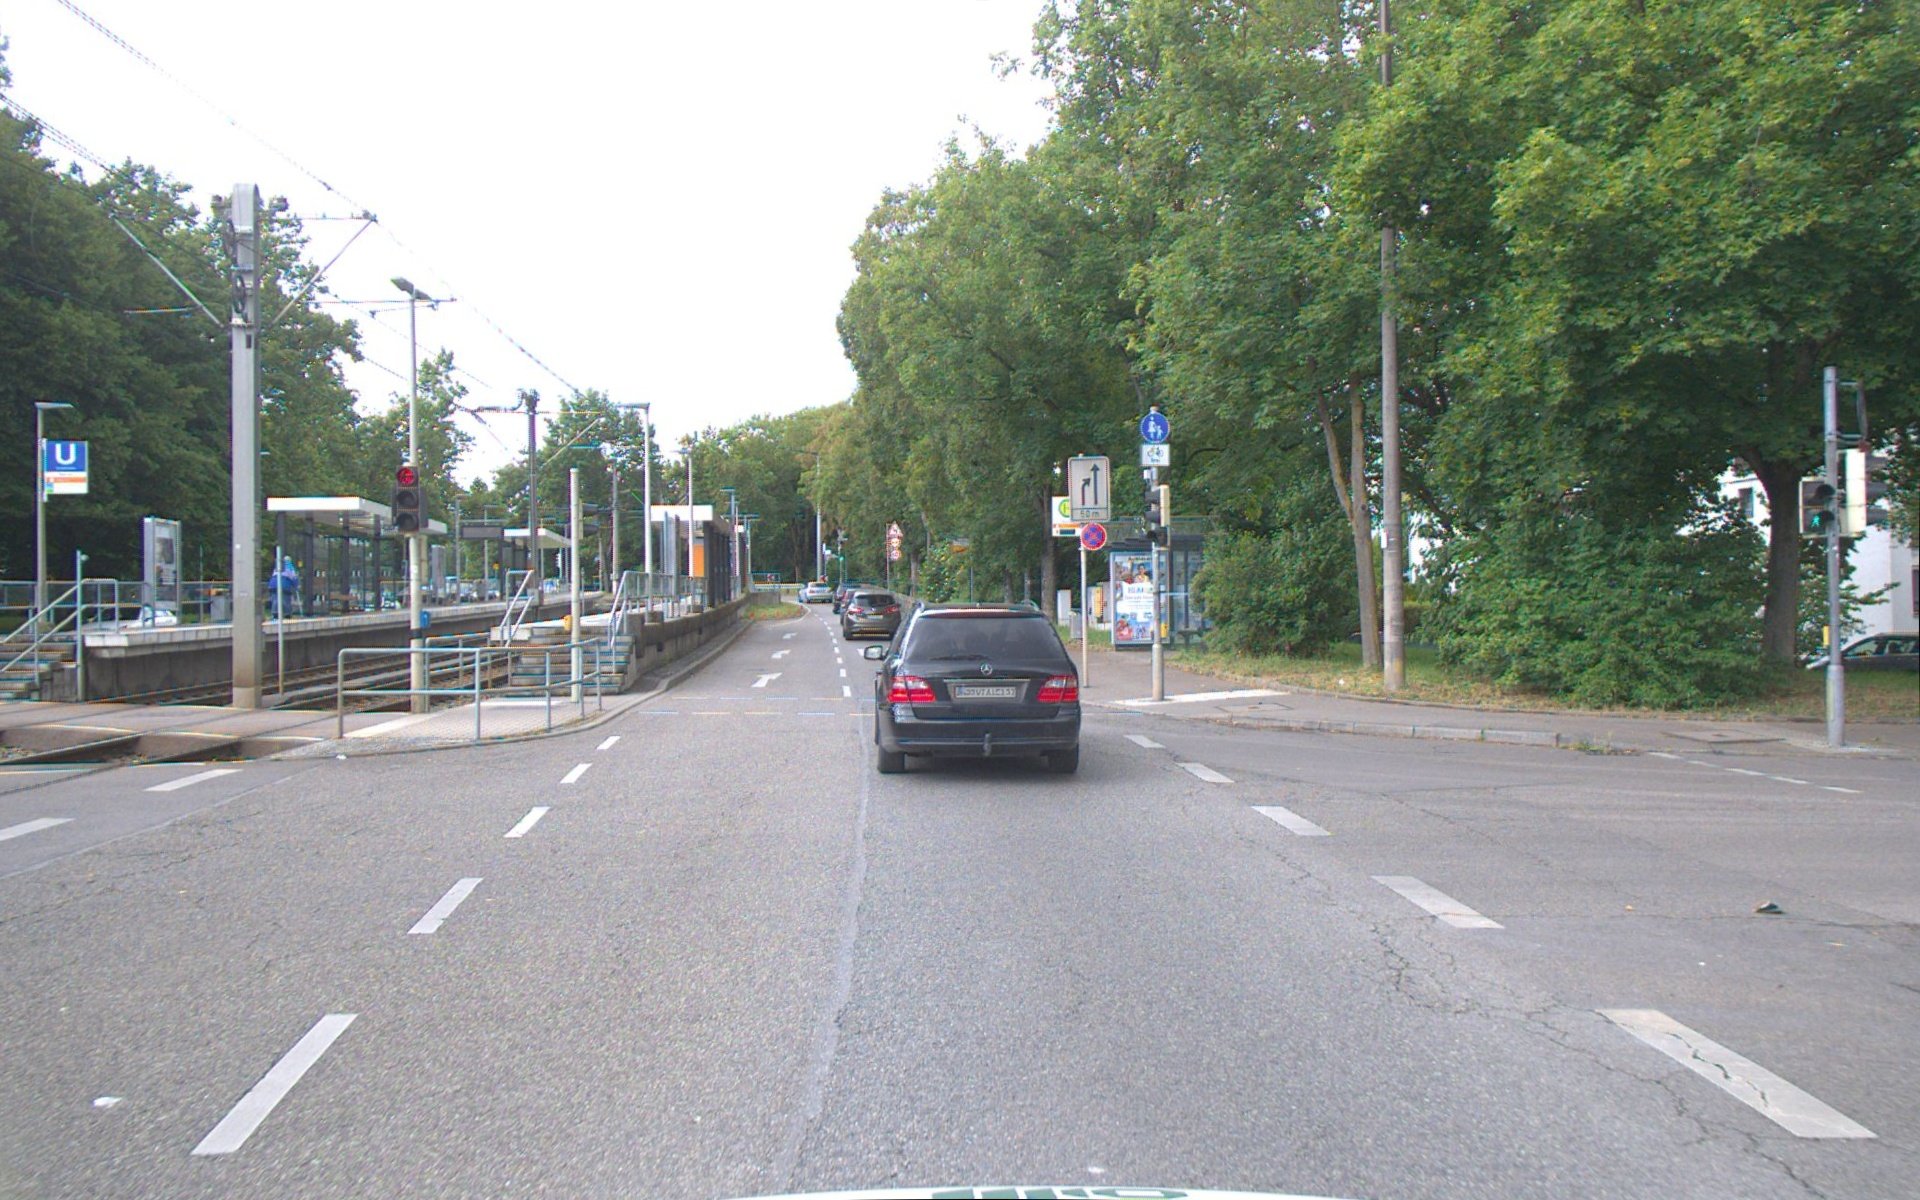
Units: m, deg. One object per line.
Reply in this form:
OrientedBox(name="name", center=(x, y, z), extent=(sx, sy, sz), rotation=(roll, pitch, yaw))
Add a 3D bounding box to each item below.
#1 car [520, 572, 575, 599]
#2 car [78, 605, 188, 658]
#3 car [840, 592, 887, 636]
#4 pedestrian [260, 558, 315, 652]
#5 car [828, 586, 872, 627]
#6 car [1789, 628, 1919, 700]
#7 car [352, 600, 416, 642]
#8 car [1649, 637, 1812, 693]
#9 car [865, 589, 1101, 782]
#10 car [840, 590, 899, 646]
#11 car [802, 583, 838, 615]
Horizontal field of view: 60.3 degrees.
OrientedBox(name="car", center=(-32.868, -1.178, 131.769), extent=(3.912, 2.049, 1.996), rotation=(1, -1, 30))
OrientedBox(name="car", center=(-25.348, 0.946, 50.810), extent=(1.654, 1.471, 3.994), rotation=(-3, -1, -6))
OrientedBox(name="car", center=(-3.899, 0.575, 66.606), extent=(1.747, 1.677, 3.995), rotation=(1, -1, -5))
OrientedBox(name="pedestrian", center=(-16.226, 0.117, 39.932), extent=(0.950, 2.224, 0.975), rotation=(0, 0, -4))
OrientedBox(name="car", center=(-5.531, 0.363, 82.949), extent=(1.956, 1.952, 3.993), rotation=(1, -1, -7))
OrientedBox(name="car", center=(20.402, 1.388, 36.136), extent=(1.633, 1.487, 4.270), rotation=(2, -1, -16))
OrientedBox(name="car", center=(-25.791, 0.941, 74.167), extent=(1.677, 1.782, 4.394), rotation=(-2, -1, -5))
OrientedBox(name="car", center=(19.207, 1.589, 41.391), extent=(1.595, 1.268, 3.841), rotation=(2, -1, -16))
OrientedBox(name="car", center=(0.079, 0.674, 15.359), extent=(1.747, 1.552, 3.995), rotation=(0, 0, -6))
OrientedBox(name="car", center=(-2.908, 0.568, 52.636), extent=(1.747, 1.677, 3.996), rotation=(1, -1, -4))
OrientedBox(name="car", center=(-8.803, -0.026, 103.775), extent=(1.957, 1.926, 3.991), rotation=(1, -1, -9))
